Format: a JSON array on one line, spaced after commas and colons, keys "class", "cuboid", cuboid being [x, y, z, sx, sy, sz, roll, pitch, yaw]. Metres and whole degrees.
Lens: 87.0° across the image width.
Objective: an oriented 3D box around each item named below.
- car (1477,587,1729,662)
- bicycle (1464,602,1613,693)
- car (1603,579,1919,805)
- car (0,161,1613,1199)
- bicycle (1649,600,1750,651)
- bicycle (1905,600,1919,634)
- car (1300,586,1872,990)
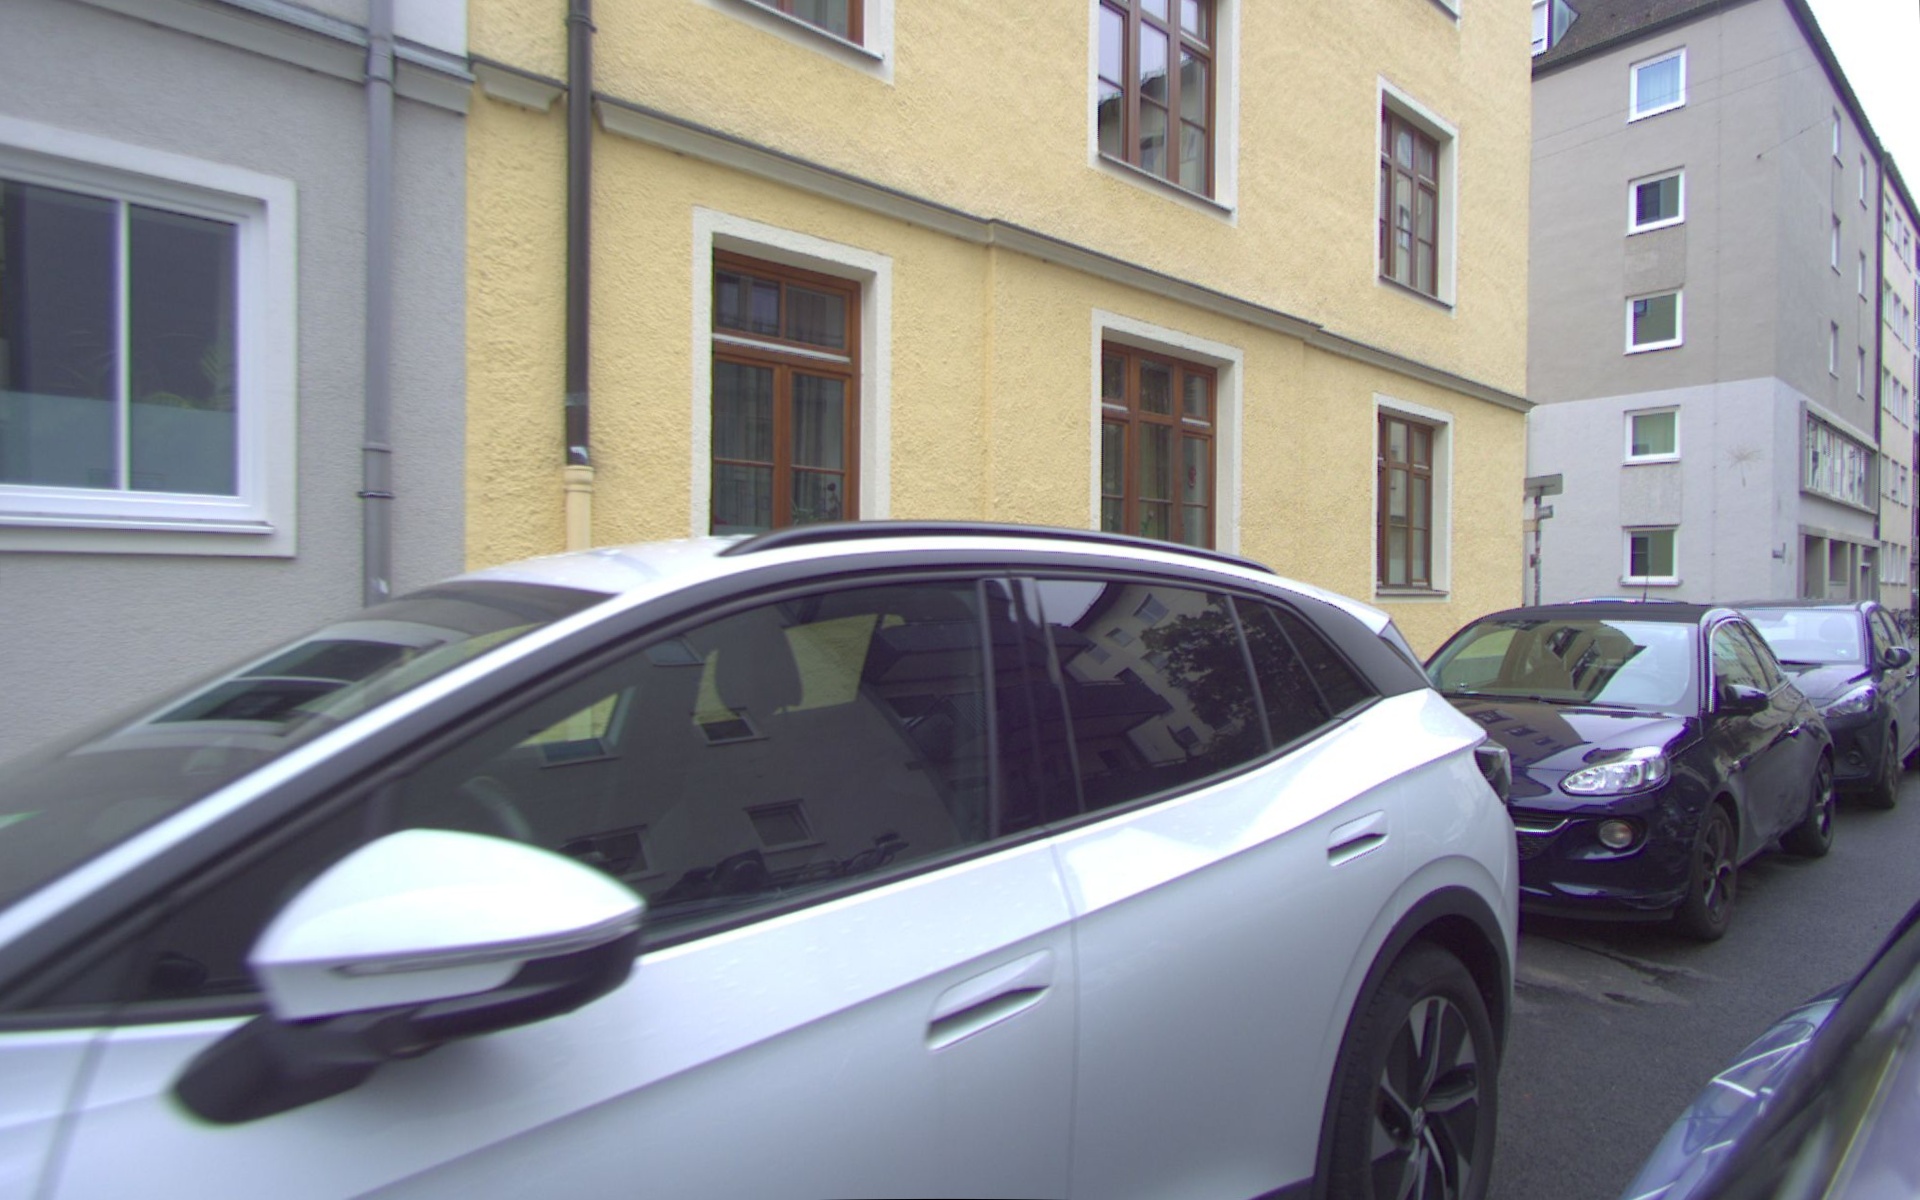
[{"class": "car", "cuboid": [13.653, 0.474, 21.662, 1.966, 1.417, 4.209, 2, 0, -43]}, {"class": "bicycle", "cuboid": [8.483, 0.672, 14.909, 0.496, 1.189, 1.811, 2, 1, -41]}, {"class": "car", "cuboid": [7.277, 0.624, 8.762, 4.268, 1.488, 1.753, 0, -2, -42]}, {"class": "car", "cuboid": [-0.511, 0.494, 1.949, 4.336, 1.588, 1.685, 0, -2, -39]}, {"class": "bicycle", "cuboid": [16.783, 0.558, 22.995, 0.457, 1.130, 1.800, 0, 0, -40]}, {"class": "bicycle", "cuboid": [31.624, 0.559, 33.214, 1.766, 1.041, 0.645, -1, 5, -41]}, {"class": "car", "cuboid": [3.649, 0.710, 5.626, 3.752, 1.488, 1.666, 0, -2, -42]}]
